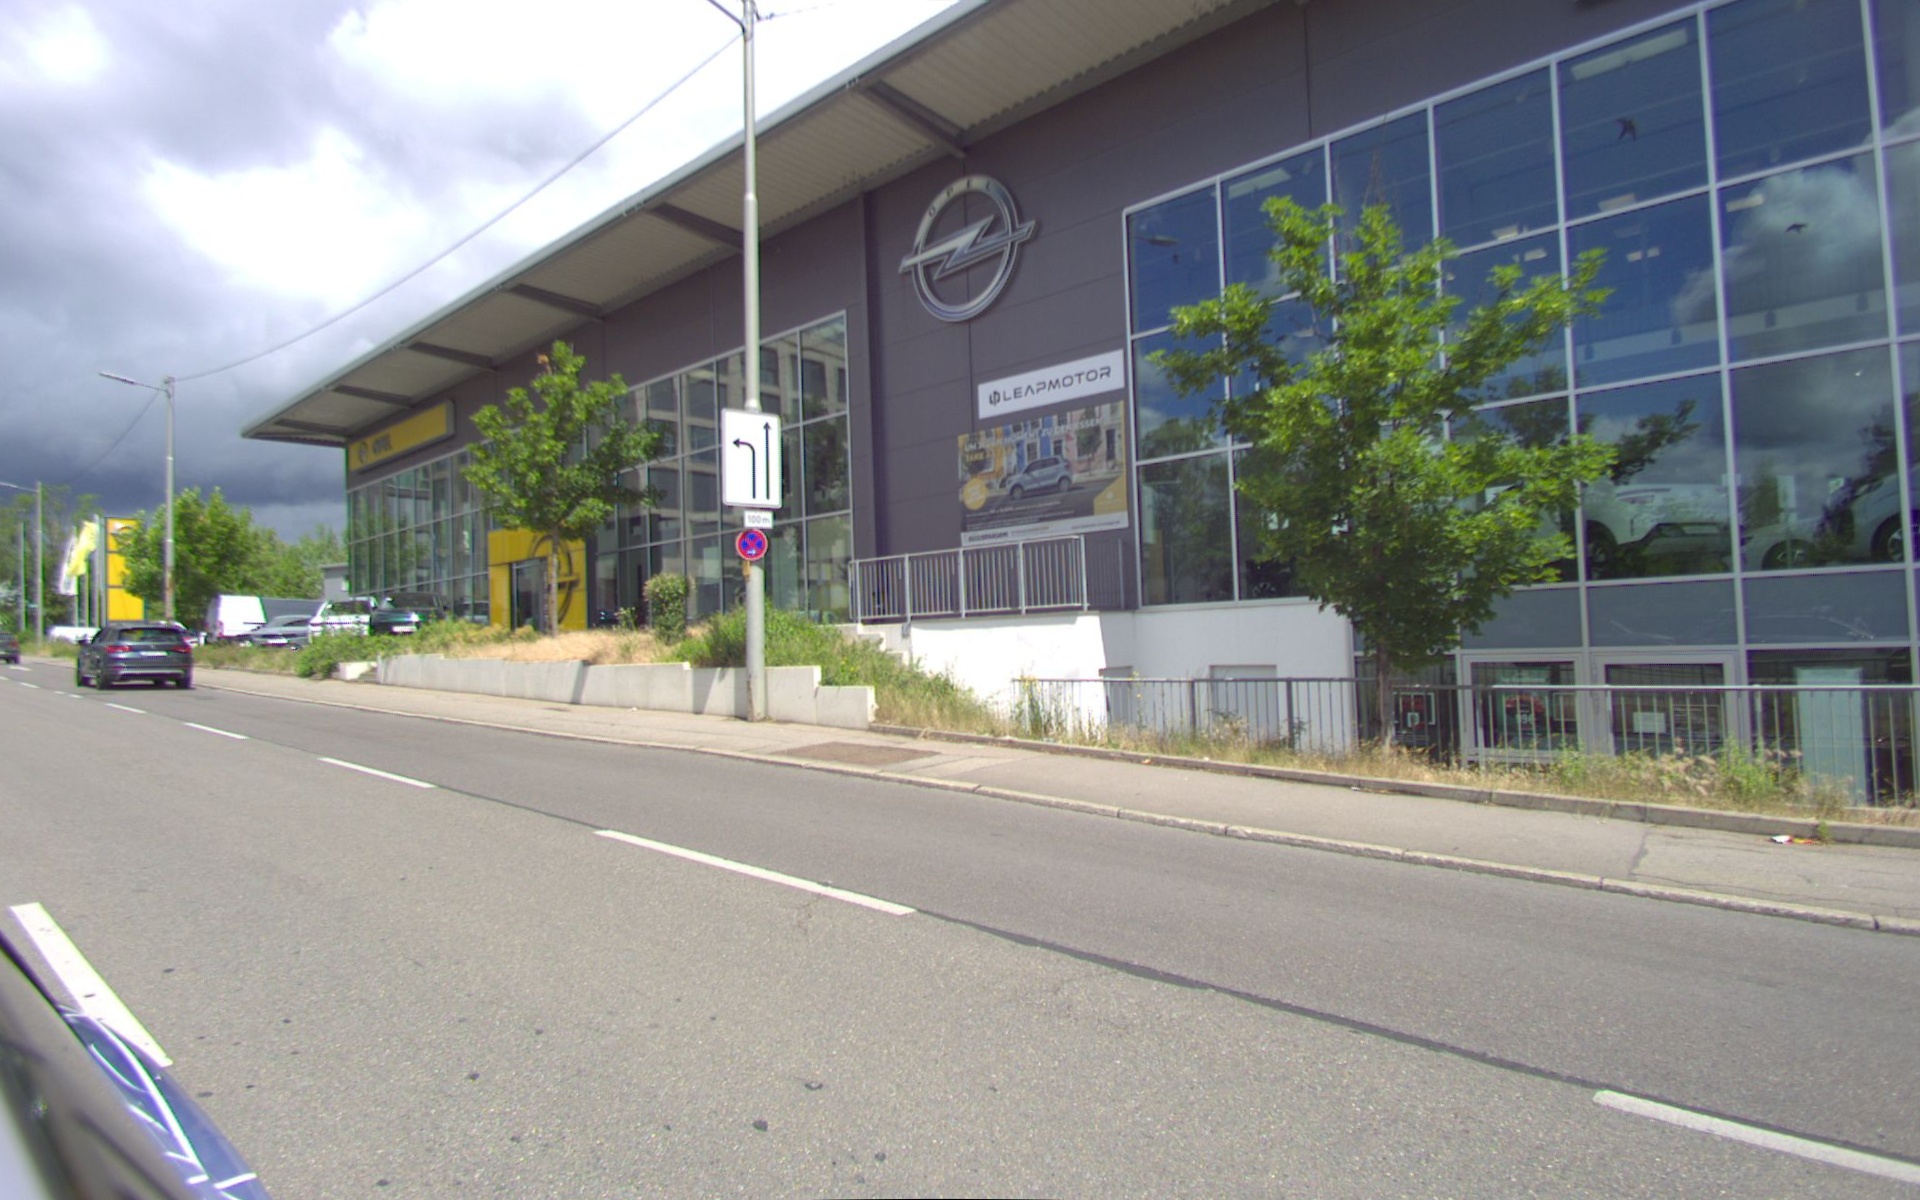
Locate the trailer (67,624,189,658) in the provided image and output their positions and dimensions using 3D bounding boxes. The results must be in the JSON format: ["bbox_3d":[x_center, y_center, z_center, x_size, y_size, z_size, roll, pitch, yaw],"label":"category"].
[{"bbox_3d":[-45.328,2.231,55.241,2.092,1.765,4.776,-2,-2,37],"label":"trailer"}]

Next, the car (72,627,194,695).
[{"bbox_3d":[-20.568,1.444,25.111,3.956,1.533,1.740,-1,-2,42],"label":"car"}]

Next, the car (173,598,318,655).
[{"bbox_3d":[-29.422,1.065,41.795,2.177,2.211,4.475,-1,-1,39],"label":"car"}]

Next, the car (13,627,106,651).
[{"bbox_3d":[-57.718,2.488,64.913,2.093,1.493,4.200,-2,-2,38],"label":"car"}]

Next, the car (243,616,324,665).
[{"bbox_3d":[-23.476,1.391,35.251,1.767,1.625,4.122,1,-2,-26],"label":"car"}]

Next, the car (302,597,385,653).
[{"bbox_3d":[-19.303,0.783,31.839,1.767,1.625,4.122,0,-1,-25],"label":"car"}]

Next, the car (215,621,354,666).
[{"bbox_3d":[-25.739,1.648,38.691,1.792,1.625,4.064,-2,-2,32],"label":"car"}]

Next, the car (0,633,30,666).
[{"bbox_3d":[-42.351,2.175,44.486,3.732,1.424,1.740,-2,-4,41],"label":"car"}]

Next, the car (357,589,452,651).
[{"bbox_3d":[-15.594,0.590,28.594,1.790,1.625,4.122,0,-2,-21],"label":"car"}]
